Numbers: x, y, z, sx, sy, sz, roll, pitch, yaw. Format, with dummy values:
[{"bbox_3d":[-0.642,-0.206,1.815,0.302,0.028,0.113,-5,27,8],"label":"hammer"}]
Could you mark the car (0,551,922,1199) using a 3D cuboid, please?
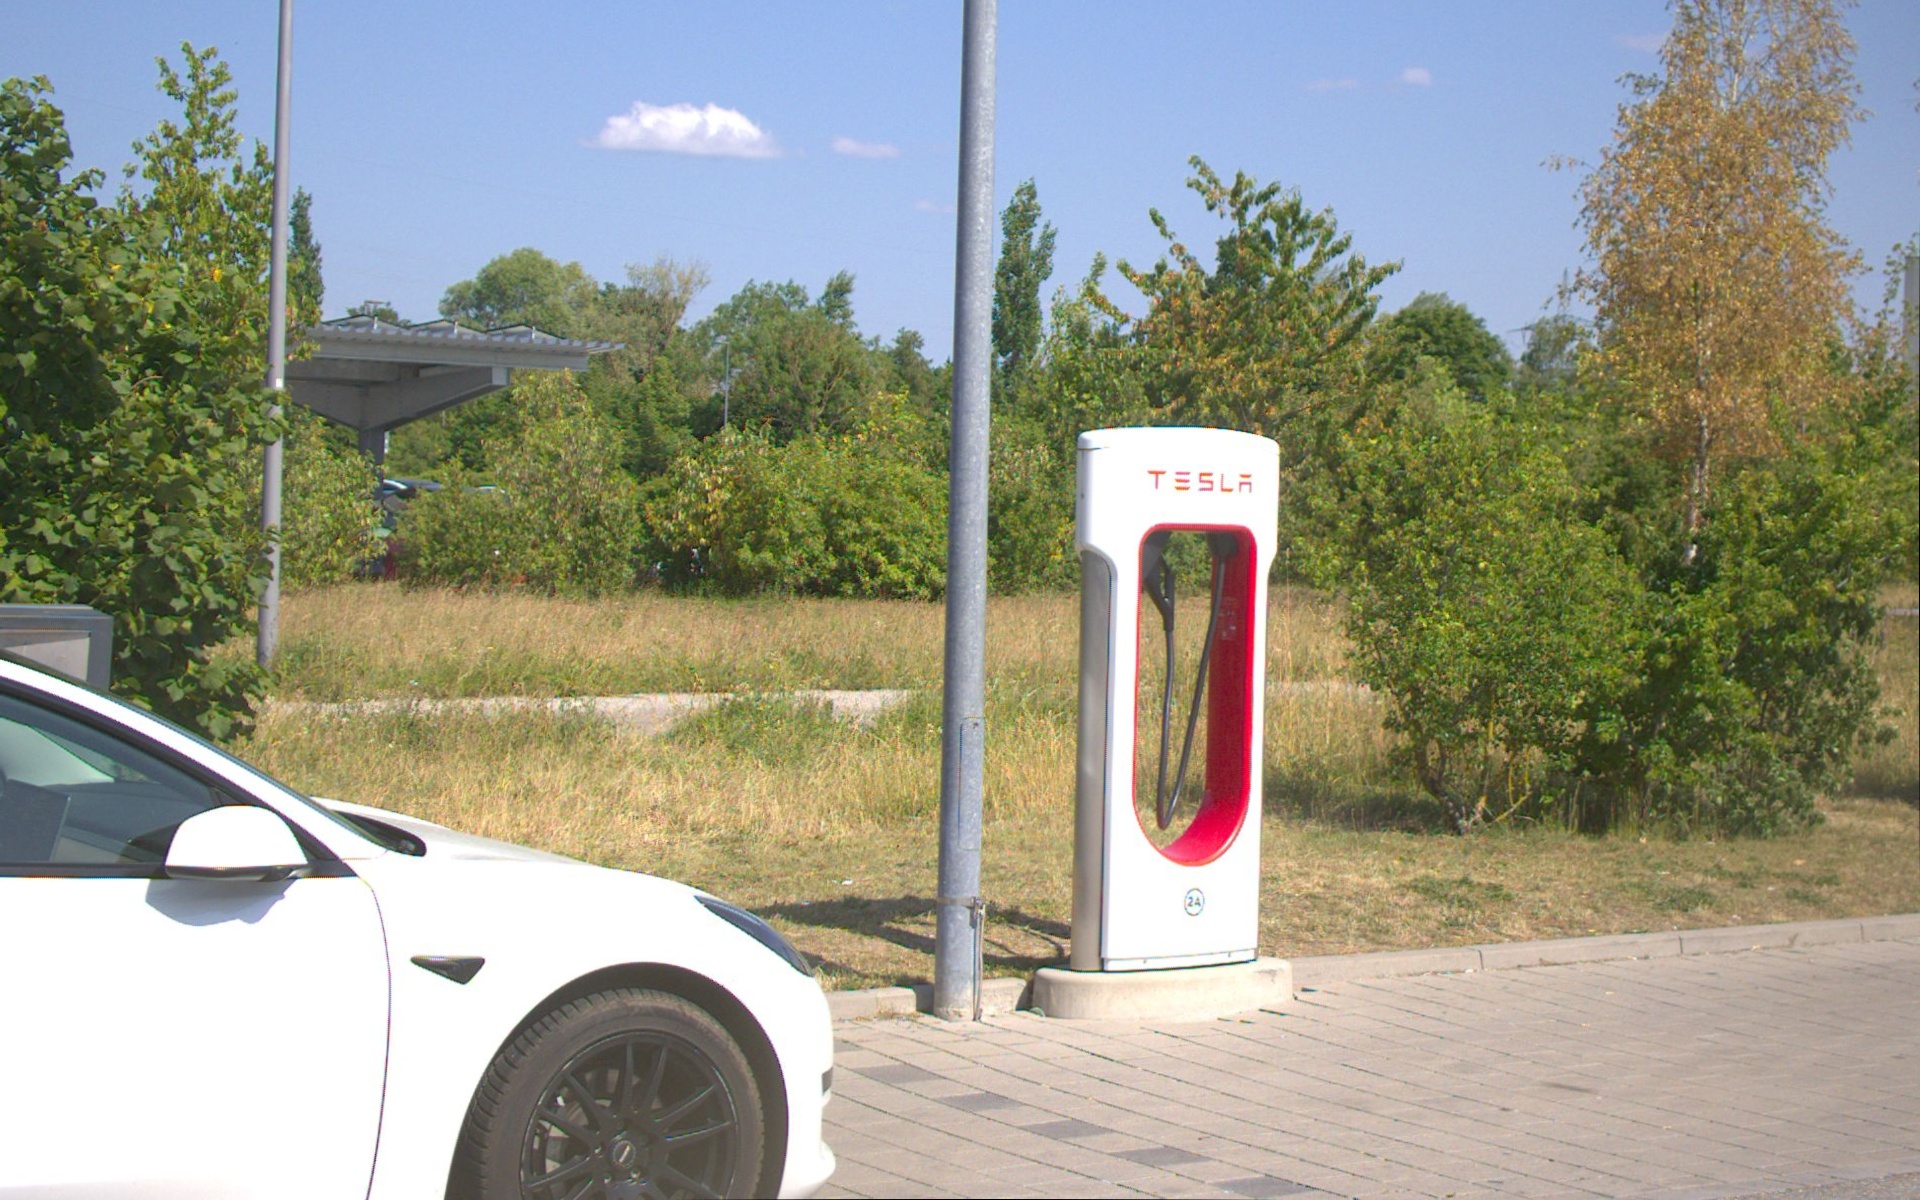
[{"bbox_3d":[-2.452,0.608,6.587,4.434,1.373,1.822,0,2,-33],"label":"car"}]
